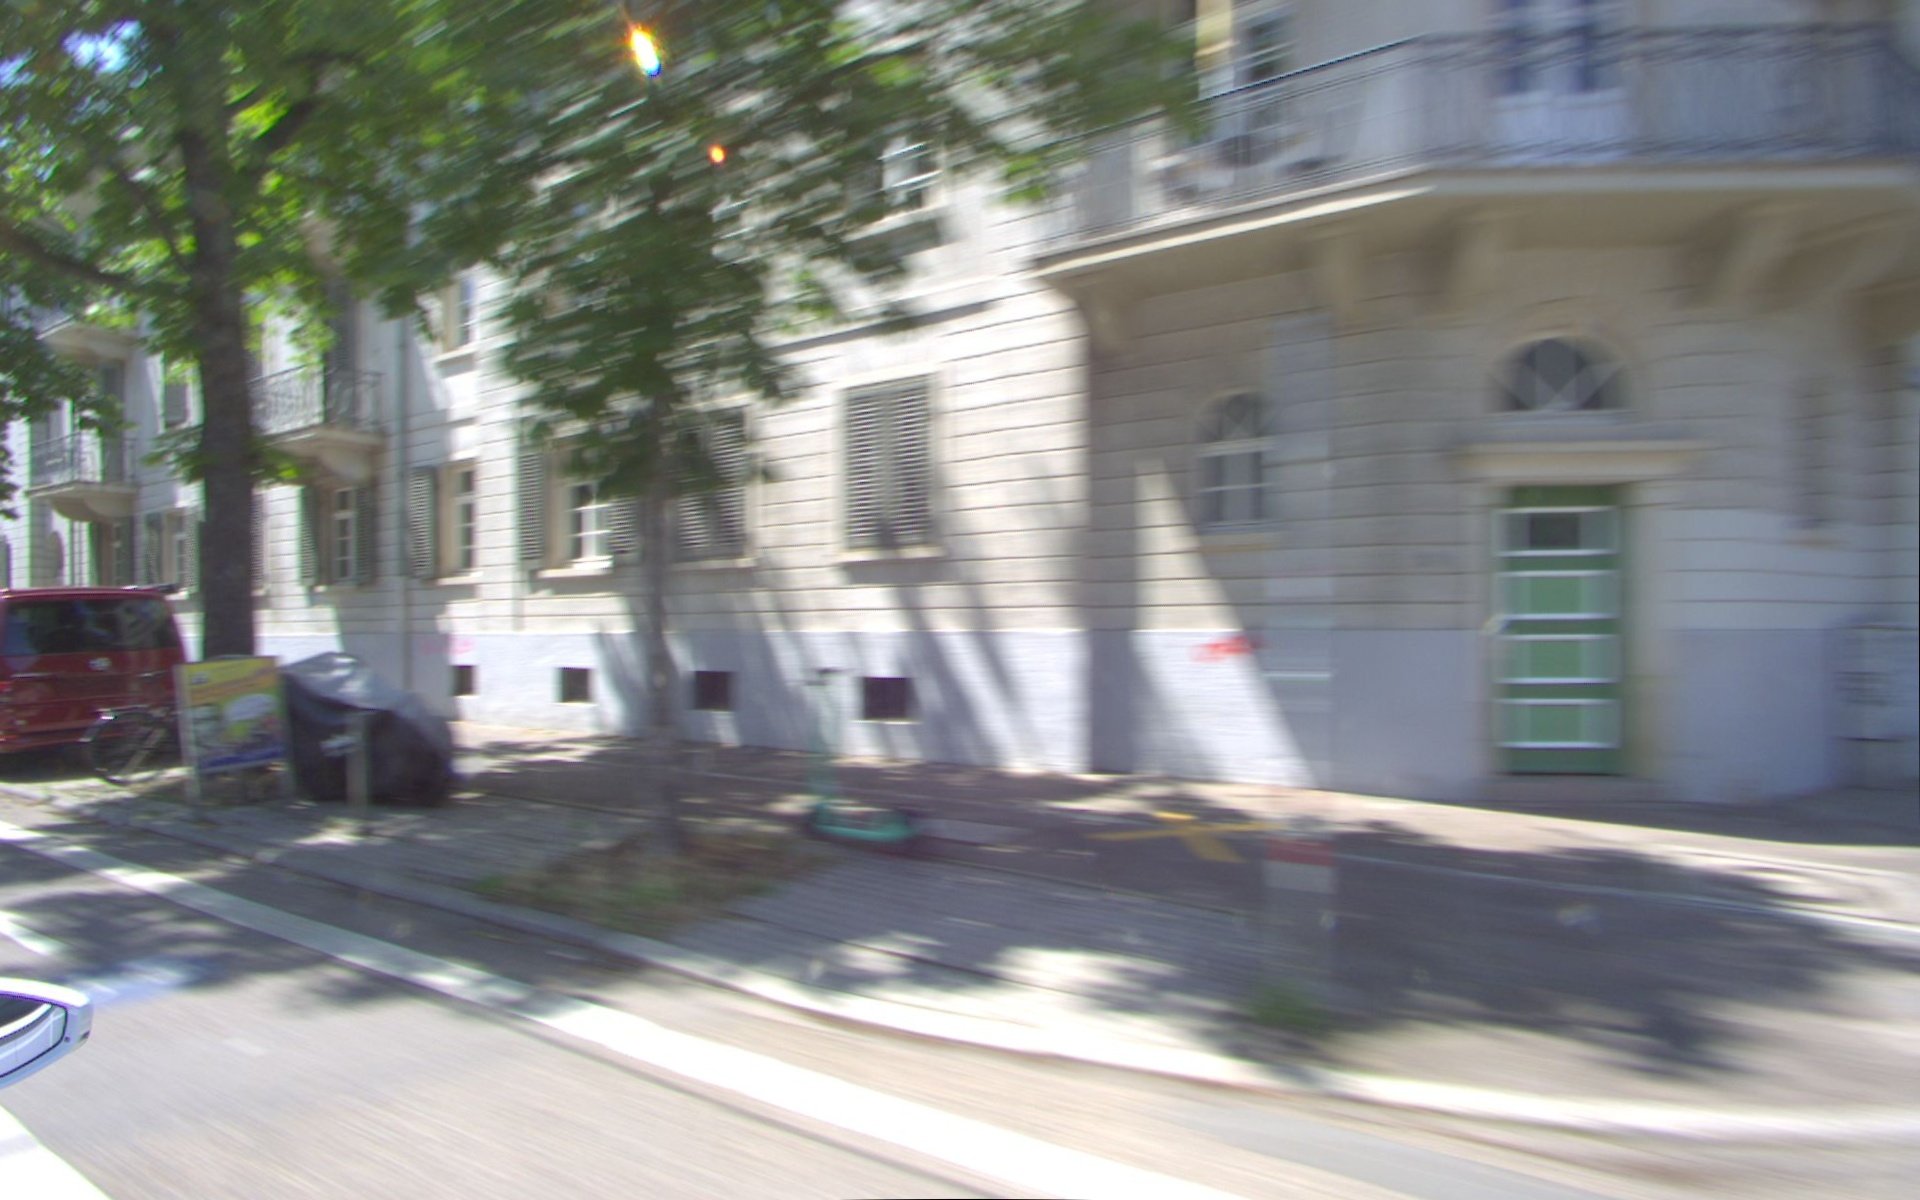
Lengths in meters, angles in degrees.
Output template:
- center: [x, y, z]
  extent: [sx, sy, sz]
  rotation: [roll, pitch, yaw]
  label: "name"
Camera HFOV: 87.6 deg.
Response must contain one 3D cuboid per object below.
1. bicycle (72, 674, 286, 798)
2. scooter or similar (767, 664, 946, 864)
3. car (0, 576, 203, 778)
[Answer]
- center: [-7.728, 1.304, 10.006]
  extent: [0.359, 1.035, 1.696]
  rotation: [-1, -1, 26]
  label: "bicycle"
- center: [-0.688, 1.019, 6.489]
  extent: [1.234, 1.176, 0.295]
  rotation: [-1, -1, 32]
  label: "scooter or similar"
- center: [-11.320, 0.862, 12.153]
  extent: [4.906, 2.039, 1.856]
  rotation: [-2, -2, 33]
  label: "car"
